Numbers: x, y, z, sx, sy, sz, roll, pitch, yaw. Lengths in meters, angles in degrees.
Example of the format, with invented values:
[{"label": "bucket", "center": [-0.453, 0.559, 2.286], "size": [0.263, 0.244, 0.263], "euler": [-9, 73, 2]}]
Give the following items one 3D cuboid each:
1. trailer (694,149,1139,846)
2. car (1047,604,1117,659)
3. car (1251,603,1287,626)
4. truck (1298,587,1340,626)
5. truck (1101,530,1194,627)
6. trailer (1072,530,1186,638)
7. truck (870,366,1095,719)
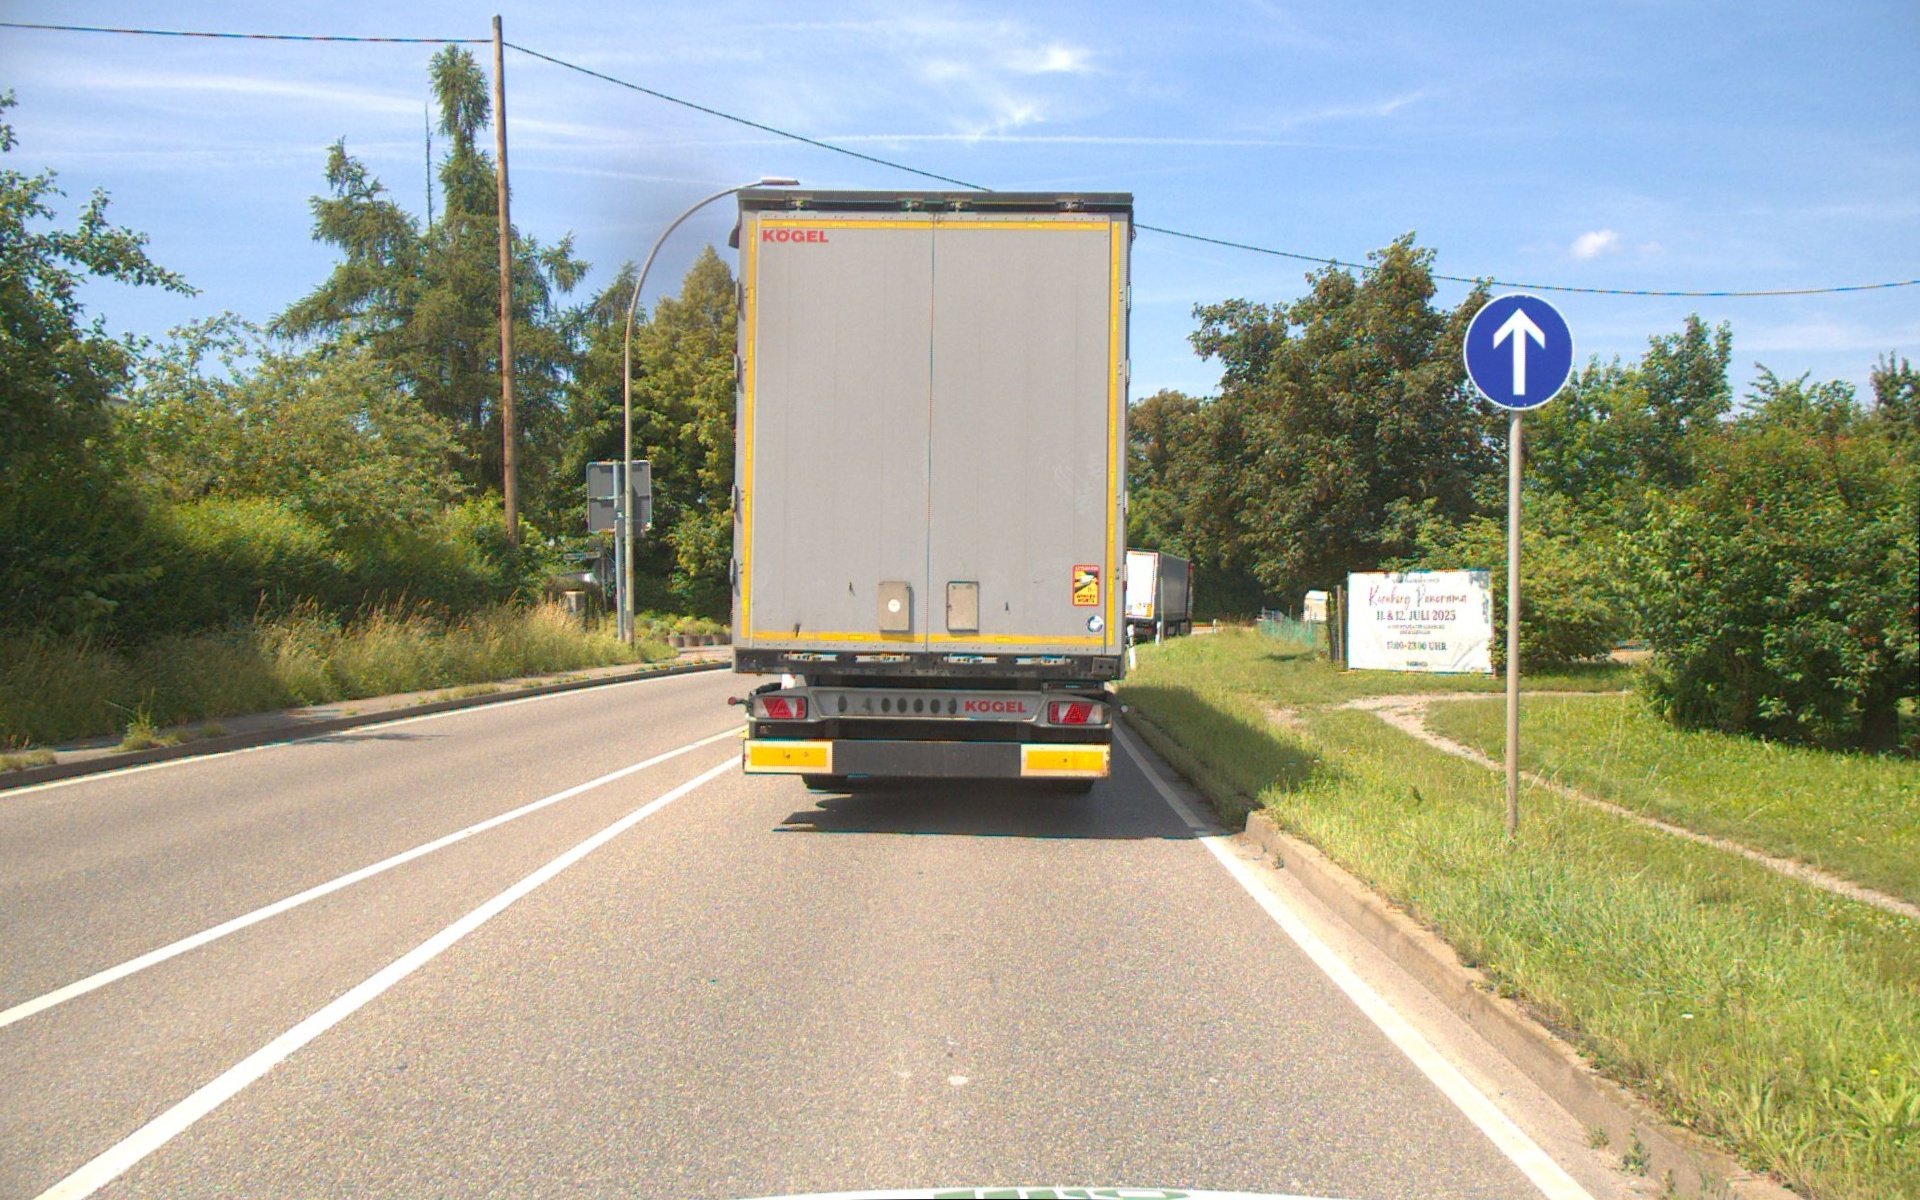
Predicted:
[{"label": "trailer", "center": [0.053, -0.703, 16.267], "size": [2.728, 4.278, 12.116], "euler": [0, 1, 3]}, {"label": "car", "center": [3.792, 0.942, 50.938], "size": [1.951, 1.557, 4.003], "euler": [0, 1, 7]}, {"label": "car", "center": [21.193, 0.956, 113.382], "size": [1.803, 1.512, 4.001], "euler": [0, 1, 20]}, {"label": "truck", "center": [27.160, 0.440, 124.935], "size": [2.370, 2.888, 5.413], "euler": [0, 0, 21]}, {"label": "truck", "center": [9.522, -1.012, 83.326], "size": [3.853, 4.655, 7.157], "euler": [0, 0, 13]}, {"label": "trailer", "center": [8.038, -0.683, 76.712], "size": [3.808, 4.600, 12.724], "euler": [0, 0, 13]}, {"label": "truck", "center": [0.451, -0.734, 23.032], "size": [2.688, 4.238, 6.146], "euler": [0, 0, 3]}]
